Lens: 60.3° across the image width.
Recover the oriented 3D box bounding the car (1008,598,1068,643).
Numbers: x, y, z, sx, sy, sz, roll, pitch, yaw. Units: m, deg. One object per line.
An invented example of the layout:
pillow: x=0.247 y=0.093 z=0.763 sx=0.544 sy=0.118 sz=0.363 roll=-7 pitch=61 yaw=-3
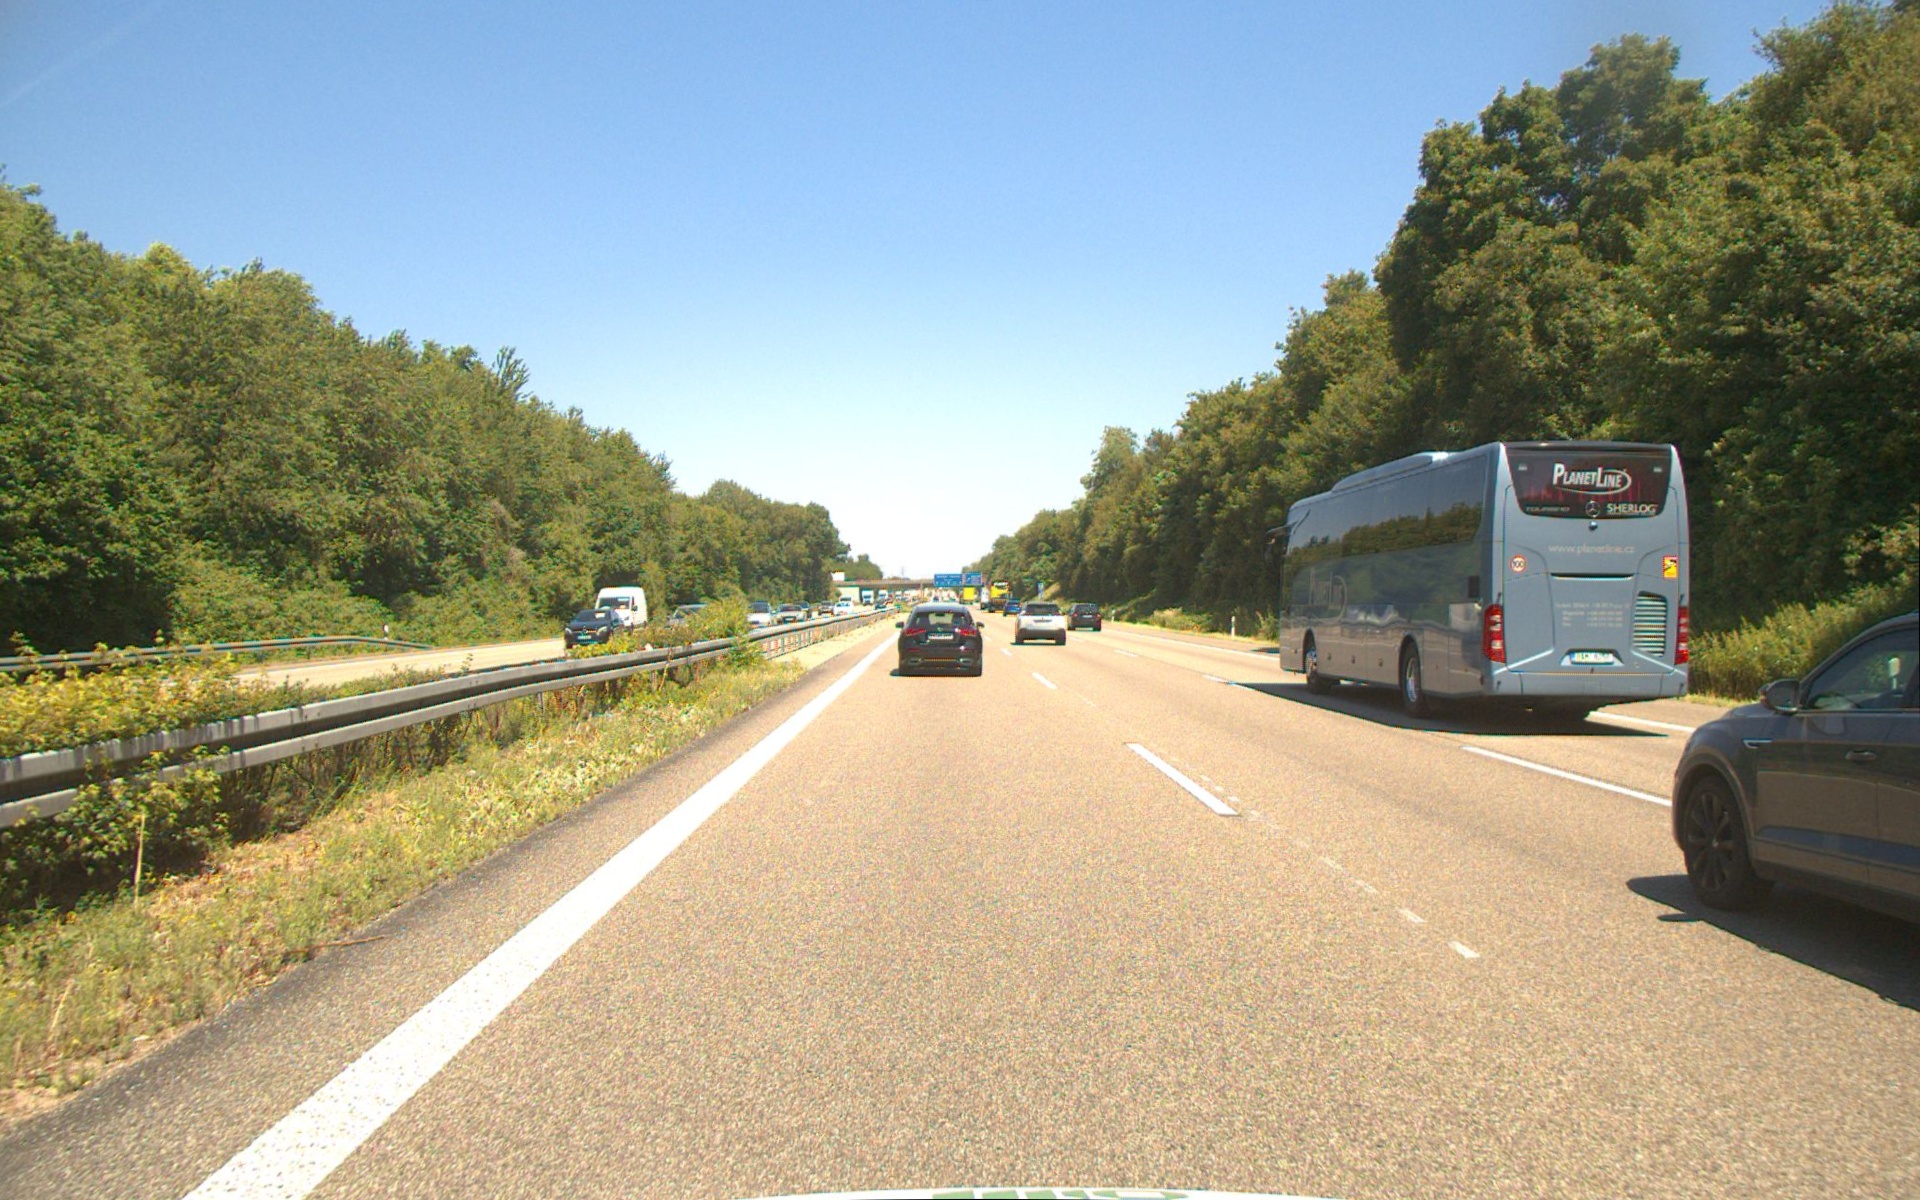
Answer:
car: x=2.800 y=0.727 z=60.264 sx=1.861 sy=1.559 sz=4.240 roll=1 pitch=0 yaw=-2

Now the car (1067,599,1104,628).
car: x=6.866 y=0.726 z=90.801 sx=1.753 sy=1.487 sz=3.949 roll=1 pitch=0 yaw=0

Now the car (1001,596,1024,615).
car: x=5.219 y=0.557 z=165.910 sx=2.034 sy=1.781 sz=4.240 roll=-1 pitch=0 yaw=-2

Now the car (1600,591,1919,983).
car: x=4.731 y=0.751 z=7.280 sx=1.861 sy=1.559 sz=4.758 roll=1 pitch=0 yaw=-2

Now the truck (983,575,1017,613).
truck: x=5.098 y=-0.704 z=214.212 sx=3.574 sy=4.670 sz=15.760 roll=1 pitch=0 yaw=-2

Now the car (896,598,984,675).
car: x=-0.467 y=0.735 z=35.389 sx=1.763 sy=1.528 sz=4.240 roll=1 pitch=0 yaw=-2

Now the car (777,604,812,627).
car: x=-10.595 y=0.970 z=106.077 sx=1.801 sy=1.407 sz=4.427 roll=-1 pitch=0 yaw=-1

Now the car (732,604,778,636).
car: x=-10.071 y=0.948 z=81.448 sx=1.811 sy=1.475 sz=4.206 roll=-1 pitch=0 yaw=-2

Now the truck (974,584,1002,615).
truck: x=4.348 y=0.001 z=262.238 sx=3.574 sy=4.670 sz=17.240 roll=1 pitch=0 yaw=-2

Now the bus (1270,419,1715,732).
bus: x=7.432 y=-0.282 z=25.654 sx=2.745 sy=3.659 sz=12.472 roll=0 pitch=0 yaw=-1

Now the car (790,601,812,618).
car: x=-15.648 y=0.908 z=163.031 sx=1.783 sy=1.659 sz=4.796 roll=-1 pitch=0 yaw=-2

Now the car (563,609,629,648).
car: x=-13.991 y=1.073 z=63.815 sx=1.634 sy=1.427 sz=4.704 roll=-1 pitch=0 yaw=-2

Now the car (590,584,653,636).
car: x=-17.736 y=0.488 z=86.959 sx=2.045 sy=2.597 sz=6.226 roll=-1 pitch=0 yaw=-1

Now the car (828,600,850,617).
car: x=-11.222 y=0.800 z=153.919 sx=1.783 sy=1.550 sz=4.821 roll=-1 pitch=0 yaw=-2
